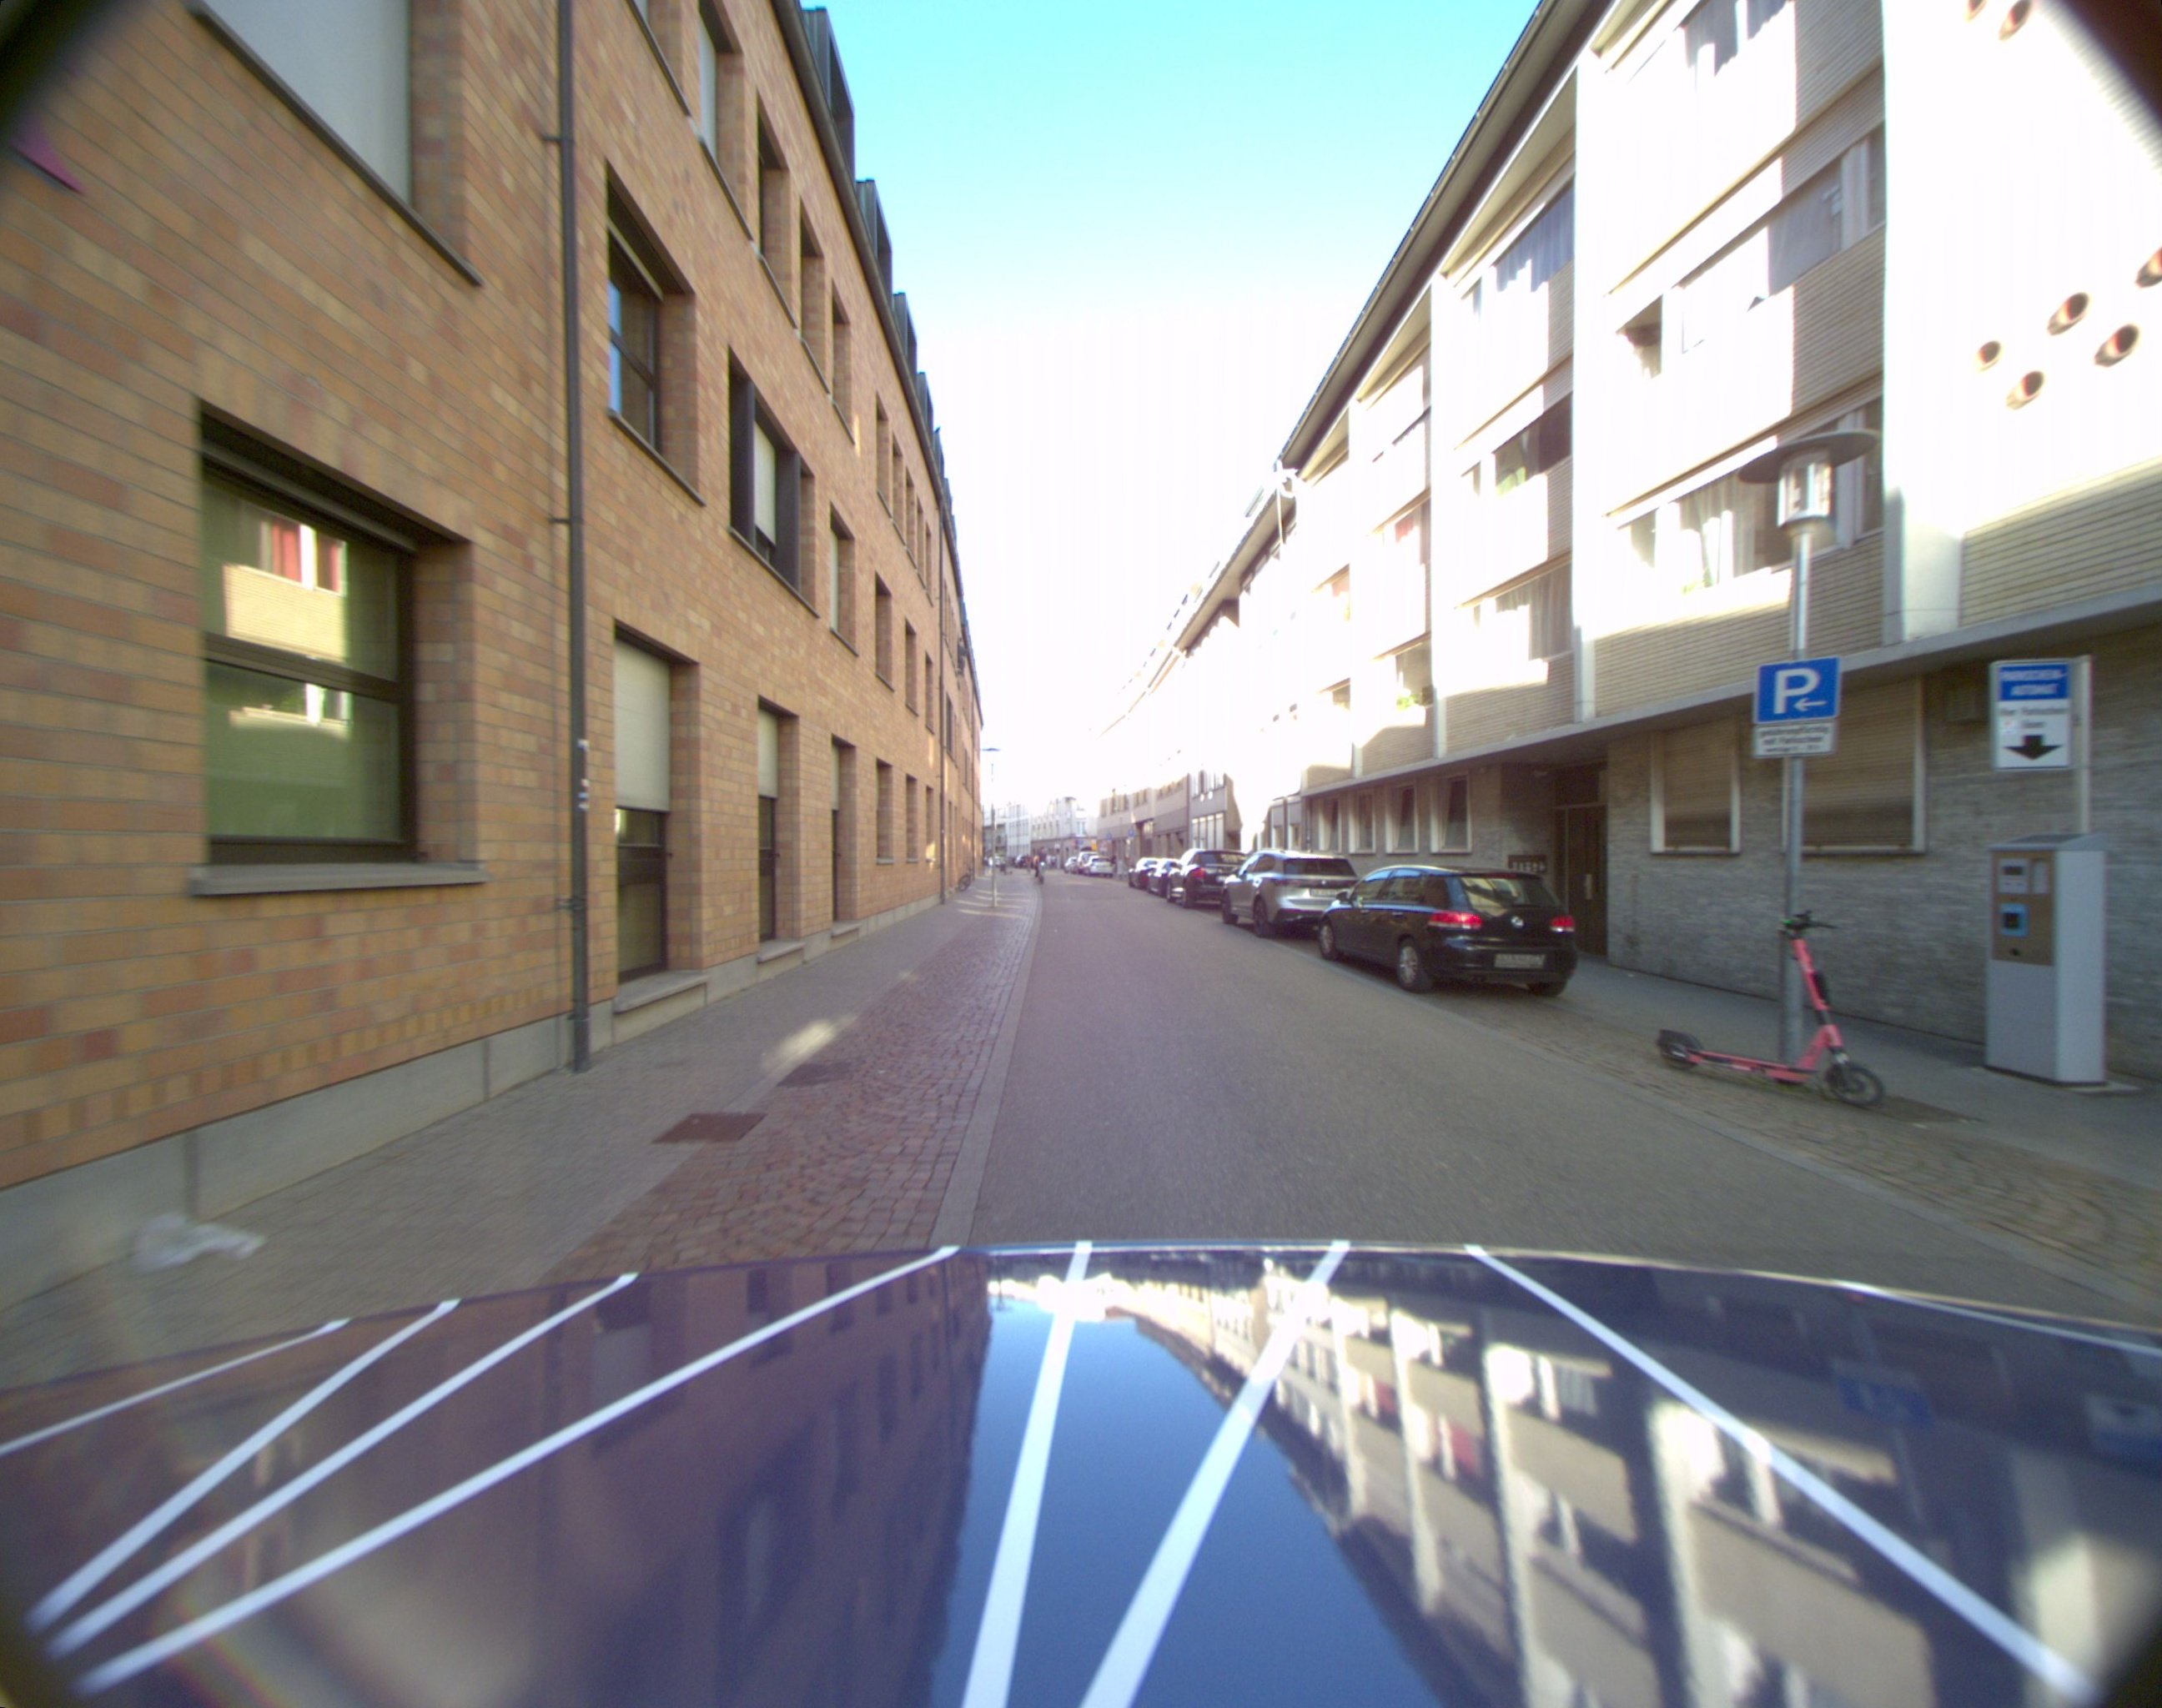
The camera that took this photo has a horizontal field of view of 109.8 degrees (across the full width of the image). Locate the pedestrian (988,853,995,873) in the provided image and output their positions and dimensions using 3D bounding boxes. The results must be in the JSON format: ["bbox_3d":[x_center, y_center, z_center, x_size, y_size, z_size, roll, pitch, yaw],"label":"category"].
[{"bbox_3d":[-7.206,0.727,61.286,0.543,1.536,0.405,0,1,-4],"label":"pedestrian"}]

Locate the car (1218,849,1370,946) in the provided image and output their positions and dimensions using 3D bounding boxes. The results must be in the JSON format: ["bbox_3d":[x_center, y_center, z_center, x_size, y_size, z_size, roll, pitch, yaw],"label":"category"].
[{"bbox_3d":[4.002,0.739,14.993,1.673,1.651,4.079,1,0,-2],"label":"car"}]

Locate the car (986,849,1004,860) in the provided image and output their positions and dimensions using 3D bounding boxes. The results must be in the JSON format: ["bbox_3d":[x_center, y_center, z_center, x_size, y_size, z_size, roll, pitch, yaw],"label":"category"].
[{"bbox_3d":[-12.826,0.036,113.022,1.937,1.641,3.831,0,1,-16],"label":"car"}]

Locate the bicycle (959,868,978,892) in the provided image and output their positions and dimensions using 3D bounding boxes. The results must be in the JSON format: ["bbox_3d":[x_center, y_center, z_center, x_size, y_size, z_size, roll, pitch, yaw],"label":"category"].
[{"bbox_3d":[-4.698,1.063,31.840,0.643,0.876,2.555,0,0,-5],"label":"bicycle"}]

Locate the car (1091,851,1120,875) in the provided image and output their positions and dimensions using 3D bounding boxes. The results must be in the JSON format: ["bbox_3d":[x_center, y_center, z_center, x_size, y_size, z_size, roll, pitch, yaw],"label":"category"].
[{"bbox_3d":[1.754,0.610,55.720,1.693,1.669,3.506,1,0,-5],"label":"car"}]

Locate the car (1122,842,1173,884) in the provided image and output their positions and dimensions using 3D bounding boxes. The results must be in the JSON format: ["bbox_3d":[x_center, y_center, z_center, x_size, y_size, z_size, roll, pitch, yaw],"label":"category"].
[{"bbox_3d":[3.265,0.426,38.049,1.999,2.002,3.999,1,0,-3],"label":"car"}]

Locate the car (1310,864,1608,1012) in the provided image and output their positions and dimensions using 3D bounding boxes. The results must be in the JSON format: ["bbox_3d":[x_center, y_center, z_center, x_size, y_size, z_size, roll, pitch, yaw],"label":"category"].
[{"bbox_3d":[4.428,0.882,9.634,1.740,1.477,3.811,1,0,-3],"label":"car"}]

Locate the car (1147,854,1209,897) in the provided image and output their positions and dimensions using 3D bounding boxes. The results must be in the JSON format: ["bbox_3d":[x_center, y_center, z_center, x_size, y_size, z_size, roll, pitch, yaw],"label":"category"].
[{"bbox_3d":[3.584,0.759,28.599,1.673,1.452,3.862,1,0,-2],"label":"car"}]

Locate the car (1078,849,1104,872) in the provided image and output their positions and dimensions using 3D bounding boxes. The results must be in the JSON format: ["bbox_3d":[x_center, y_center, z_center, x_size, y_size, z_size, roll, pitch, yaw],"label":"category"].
[{"bbox_3d":[0.773,0.516,61.573,1.693,1.765,3.654,1,0,-5],"label":"car"}]

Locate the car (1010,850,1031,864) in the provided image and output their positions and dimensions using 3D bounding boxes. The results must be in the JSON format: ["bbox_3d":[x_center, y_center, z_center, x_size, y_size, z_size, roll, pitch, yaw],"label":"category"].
[{"bbox_3d":[-7.798,0.356,97.055,1.937,1.641,3.831,-1,1,-16],"label":"car"}]

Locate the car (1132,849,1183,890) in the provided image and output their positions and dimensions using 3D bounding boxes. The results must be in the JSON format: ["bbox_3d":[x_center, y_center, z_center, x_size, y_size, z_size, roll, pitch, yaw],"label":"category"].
[{"bbox_3d":[3.358,0.639,33.920,1.673,1.694,4.011,1,0,-2],"label":"car"}]

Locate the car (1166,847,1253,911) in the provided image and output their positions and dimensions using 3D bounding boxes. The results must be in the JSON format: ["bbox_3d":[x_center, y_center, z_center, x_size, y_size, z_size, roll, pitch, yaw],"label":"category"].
[{"bbox_3d":[3.643,0.657,22.246,1.673,1.694,4.011,1,0,-2],"label":"car"}]

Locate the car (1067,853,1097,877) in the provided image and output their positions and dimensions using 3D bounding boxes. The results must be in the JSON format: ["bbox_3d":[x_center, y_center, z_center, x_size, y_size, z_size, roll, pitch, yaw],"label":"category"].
[{"bbox_3d":[0.047,0.932,67.373,2.000,2.002,3.996,1,0,-10],"label":"car"}]

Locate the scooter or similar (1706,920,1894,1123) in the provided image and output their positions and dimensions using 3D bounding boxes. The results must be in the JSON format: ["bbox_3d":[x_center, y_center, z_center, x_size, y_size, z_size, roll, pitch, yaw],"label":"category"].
[{"bbox_3d":[4.712,1.055,5.010,0.209,1.177,0.880,-2,1,-42],"label":"scooter or similar"}]
